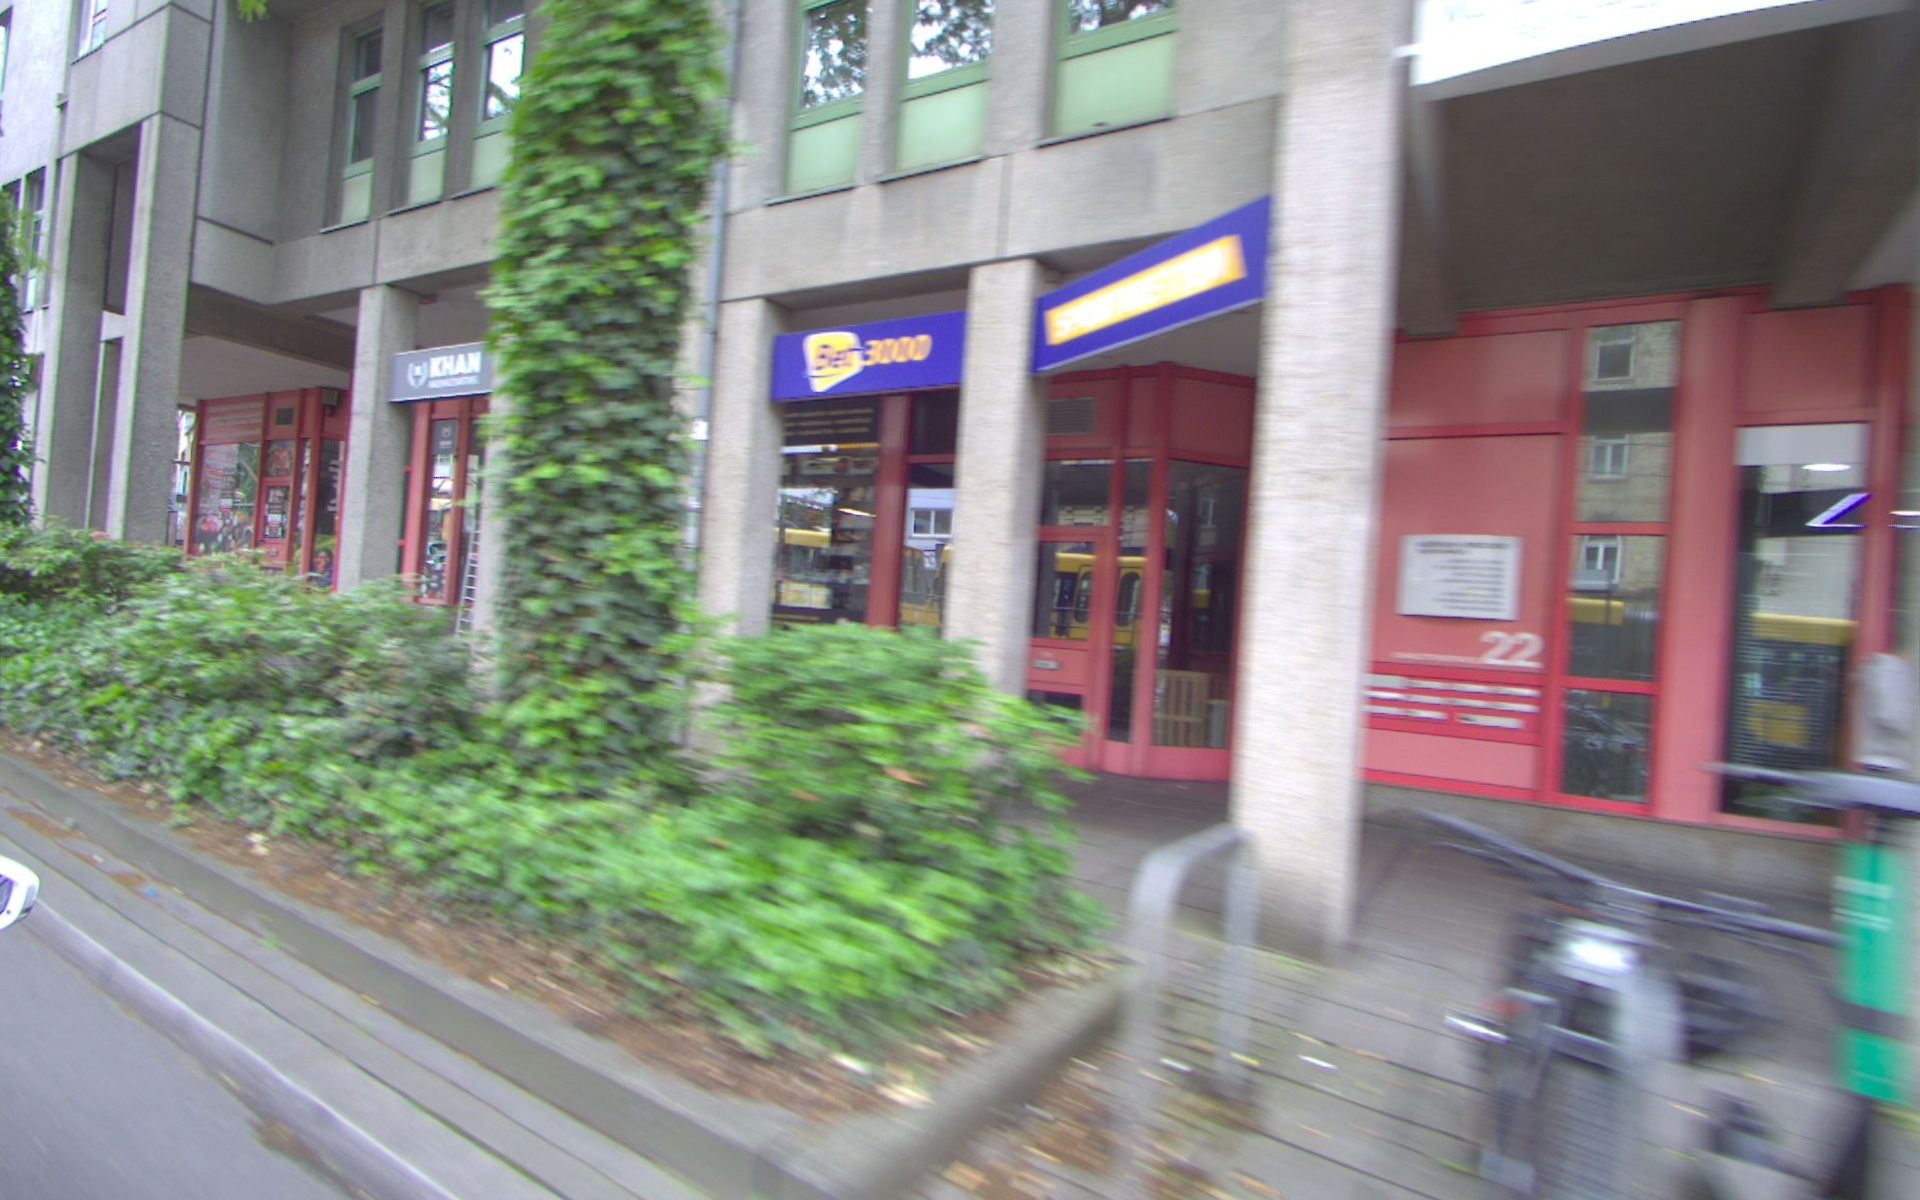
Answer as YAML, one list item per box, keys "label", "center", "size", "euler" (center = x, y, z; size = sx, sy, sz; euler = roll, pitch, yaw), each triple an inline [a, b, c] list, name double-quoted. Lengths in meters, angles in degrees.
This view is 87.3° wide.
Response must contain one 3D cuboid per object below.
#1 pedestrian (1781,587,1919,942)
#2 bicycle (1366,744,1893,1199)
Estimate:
- label: "pedestrian"
  center: [5.271, 0.894, 5.665]
  size: [0.712, 1.827, 0.831]
  euler: [9, 3, 34]
- label: "bicycle"
  center: [1.396, 1.002, 2.342]
  size: [0.603, 1.090, 1.918]
  euler: [6, 1, 29]
